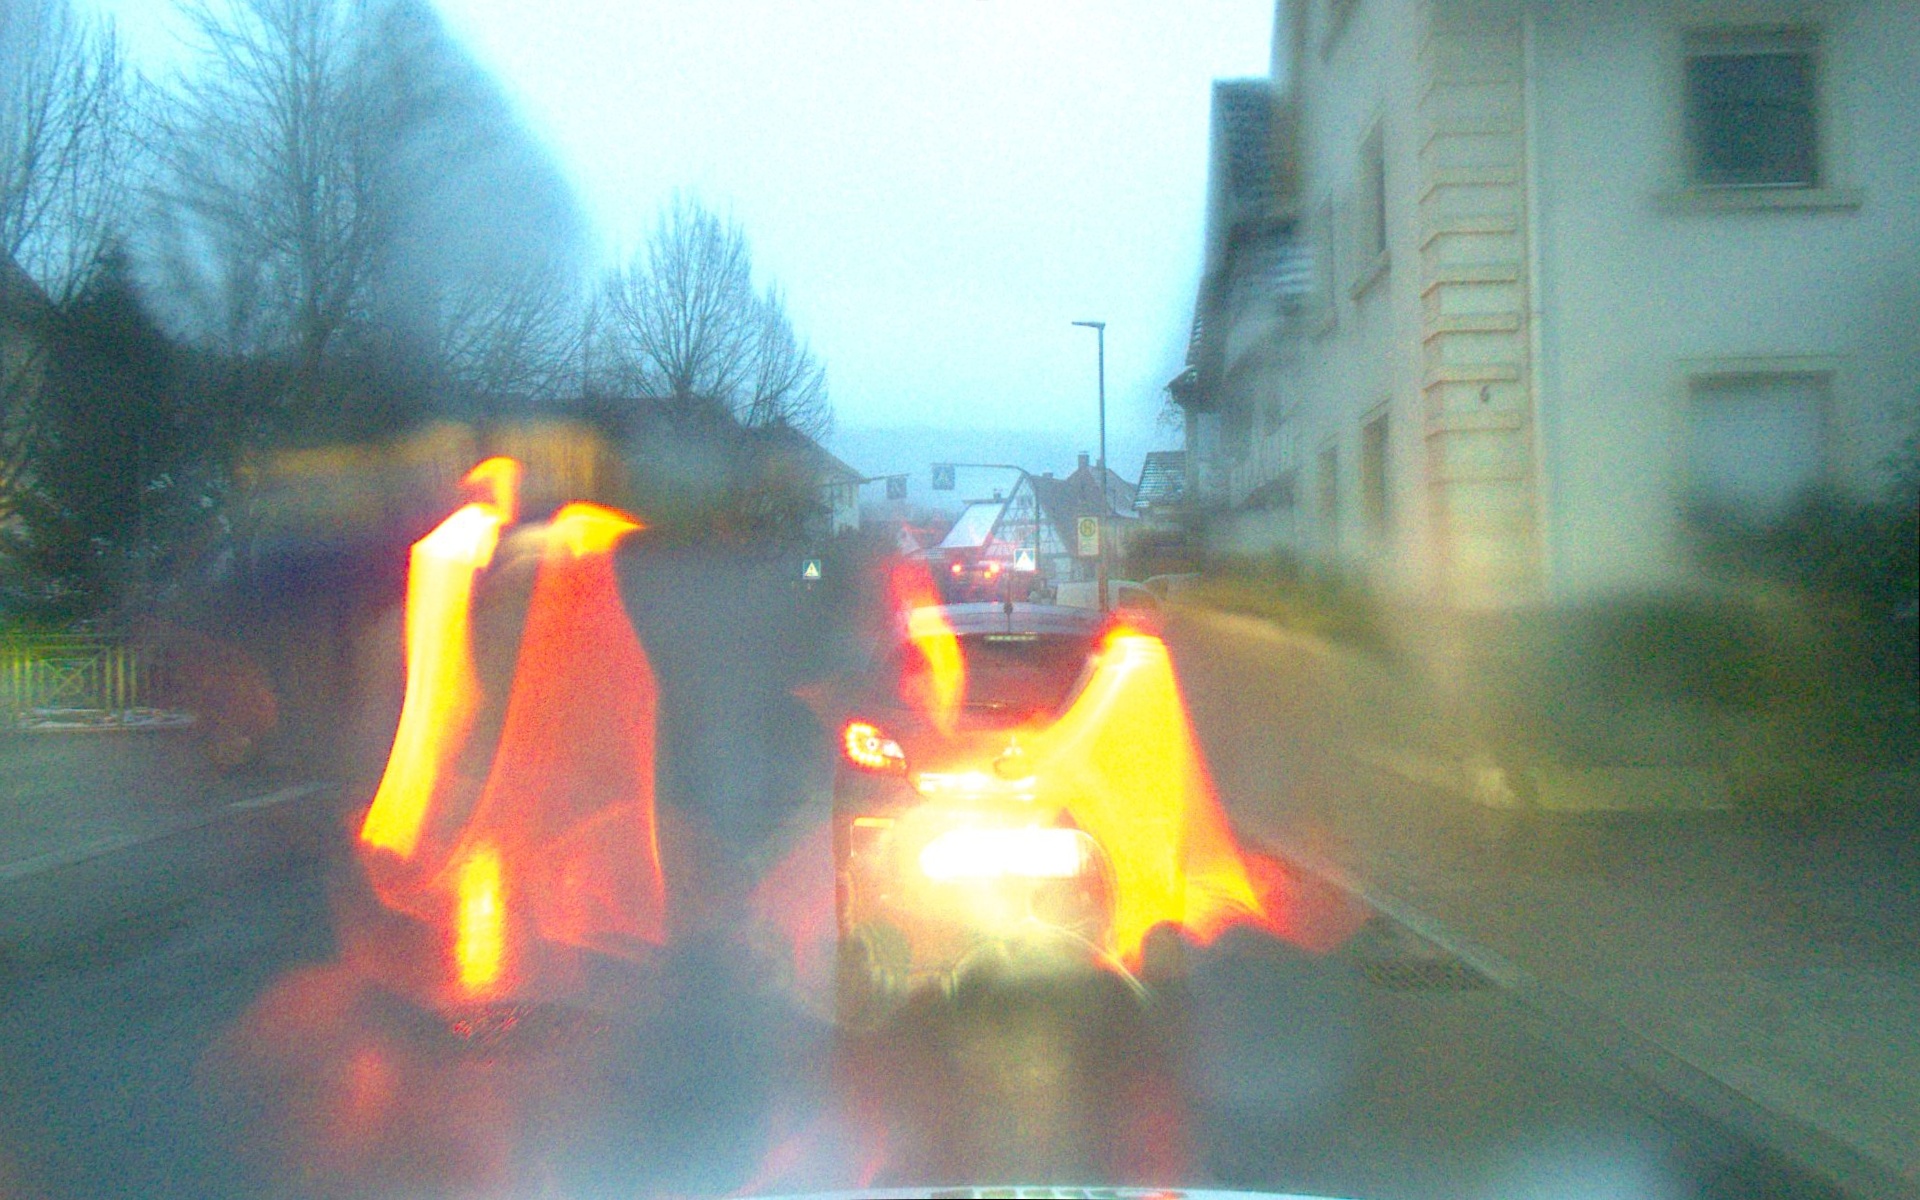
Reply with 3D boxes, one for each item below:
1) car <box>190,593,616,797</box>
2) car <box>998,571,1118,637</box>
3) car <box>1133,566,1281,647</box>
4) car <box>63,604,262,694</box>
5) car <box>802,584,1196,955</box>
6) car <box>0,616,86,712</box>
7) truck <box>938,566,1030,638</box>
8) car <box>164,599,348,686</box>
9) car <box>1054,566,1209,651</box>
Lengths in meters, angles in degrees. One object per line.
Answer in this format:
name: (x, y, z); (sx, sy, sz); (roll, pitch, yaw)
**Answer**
car: (-4.663, 0.703, 13.846); (3.197, 1.507, 1.641); (0, 0, 28)
car: (3.387, 0.137, 56.941); (4.010, 2.189, 1.915); (0, 0, 6)
car: (6.899, 0.181, 46.479); (4.010, 2.189, 1.915); (0, 0, 6)
car: (-18.057, 1.078, 37.476); (3.903, 1.944, 1.820); (0, 0, 19)
car: (0.141, 0.698, 8.433); (1.604, 1.507, 3.378); (0, 0, -1)
car: (-19.281, 1.206, 32.197); (3.903, 1.760, 1.820); (0, 0, 19)
truck: (1.217, 0.088, 76.765); (2.951, 3.183, 8.007); (0, 0, 11)
car: (-17.171, 1.014, 40.363); (3.903, 2.033, 1.820); (0, 0, 19)
car: (4.559, 0.215, 44.099); (4.010, 2.200, 1.915); (0, 0, 6)
